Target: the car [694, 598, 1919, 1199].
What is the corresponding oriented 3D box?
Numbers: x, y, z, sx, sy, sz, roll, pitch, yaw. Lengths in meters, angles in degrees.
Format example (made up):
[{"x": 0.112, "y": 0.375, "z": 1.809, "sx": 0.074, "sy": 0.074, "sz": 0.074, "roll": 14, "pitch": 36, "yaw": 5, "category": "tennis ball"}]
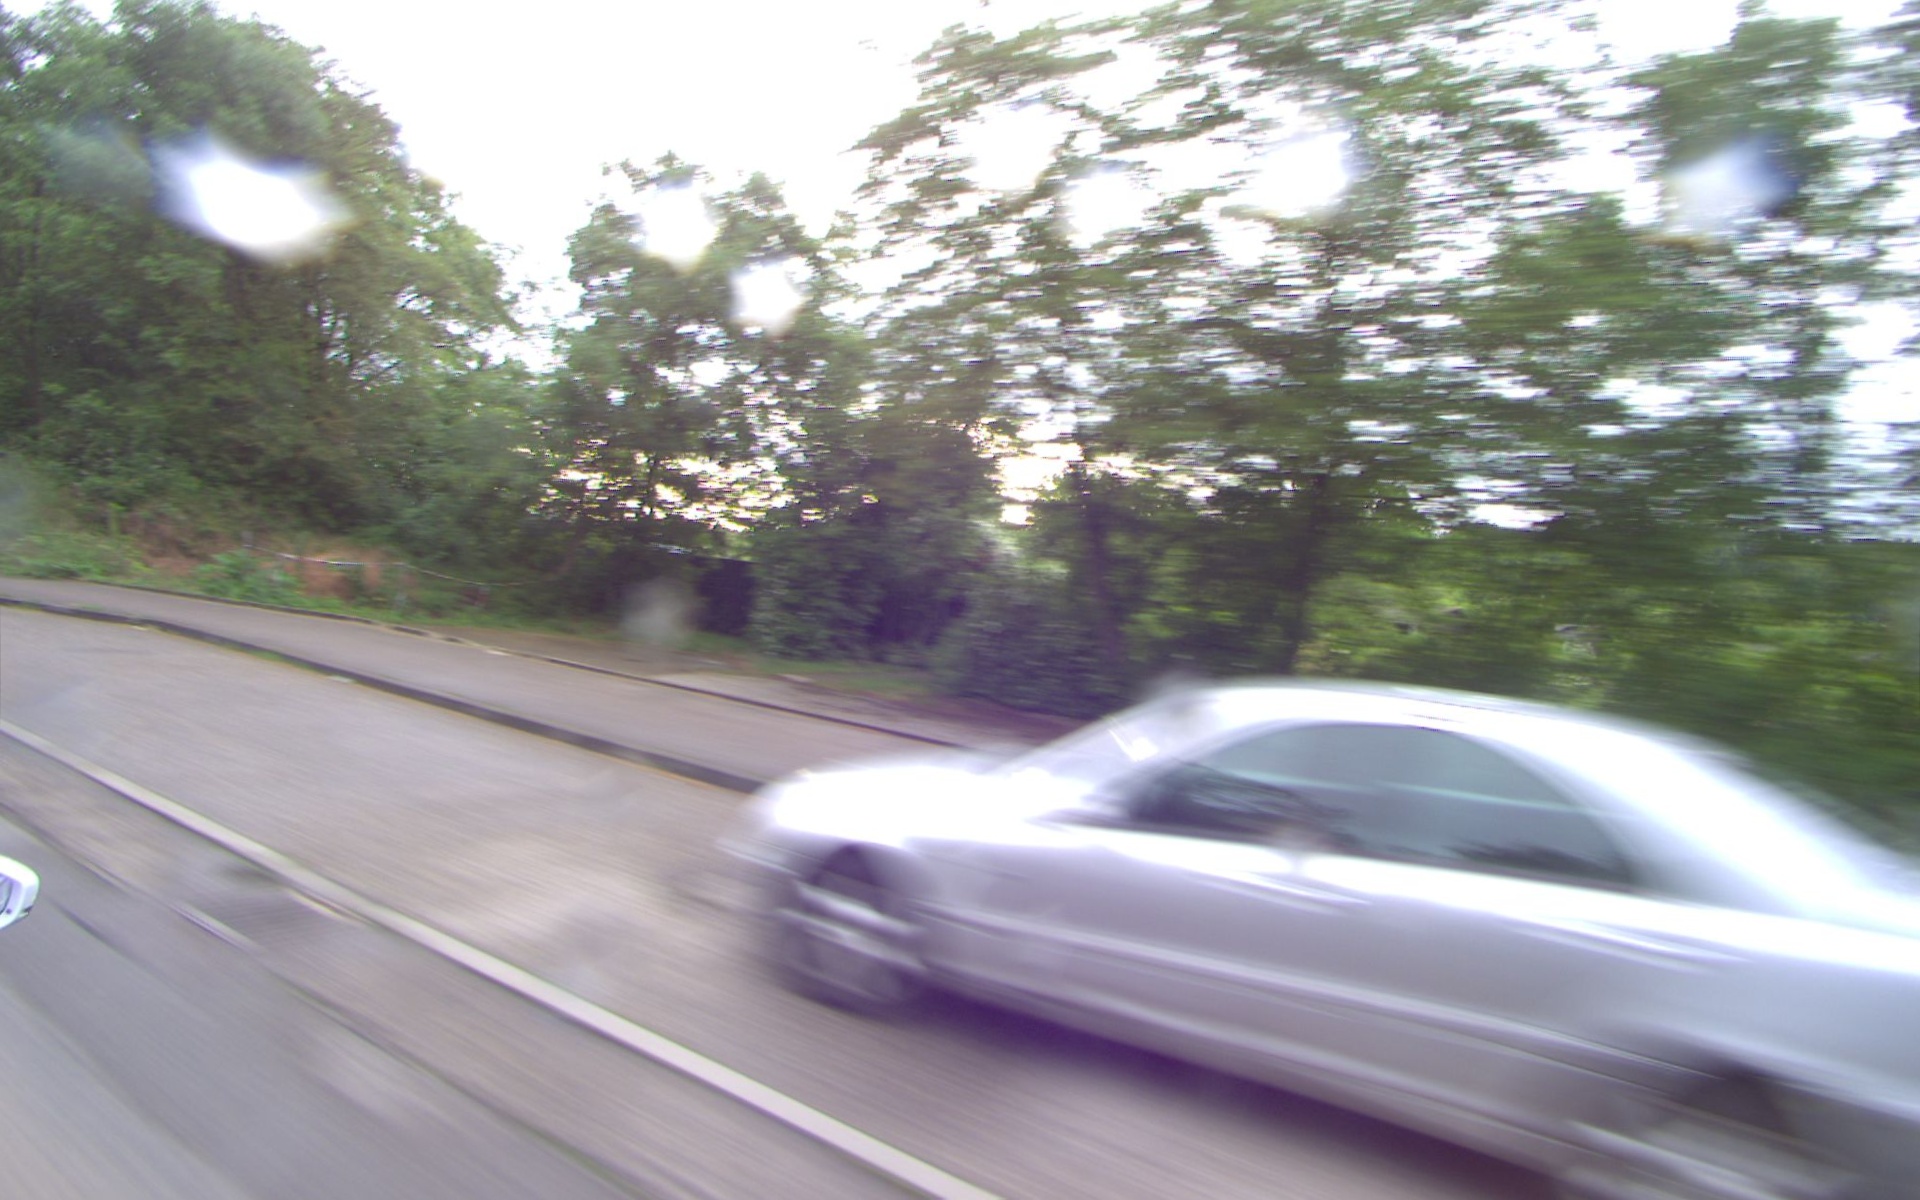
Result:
[{"x": 1.236, "y": 0.965, "z": 3.815, "sx": 4.146, "sy": 1.487, "sz": 1.747, "roll": 6, "pitch": 1, "yaw": 27, "category": "car"}]
